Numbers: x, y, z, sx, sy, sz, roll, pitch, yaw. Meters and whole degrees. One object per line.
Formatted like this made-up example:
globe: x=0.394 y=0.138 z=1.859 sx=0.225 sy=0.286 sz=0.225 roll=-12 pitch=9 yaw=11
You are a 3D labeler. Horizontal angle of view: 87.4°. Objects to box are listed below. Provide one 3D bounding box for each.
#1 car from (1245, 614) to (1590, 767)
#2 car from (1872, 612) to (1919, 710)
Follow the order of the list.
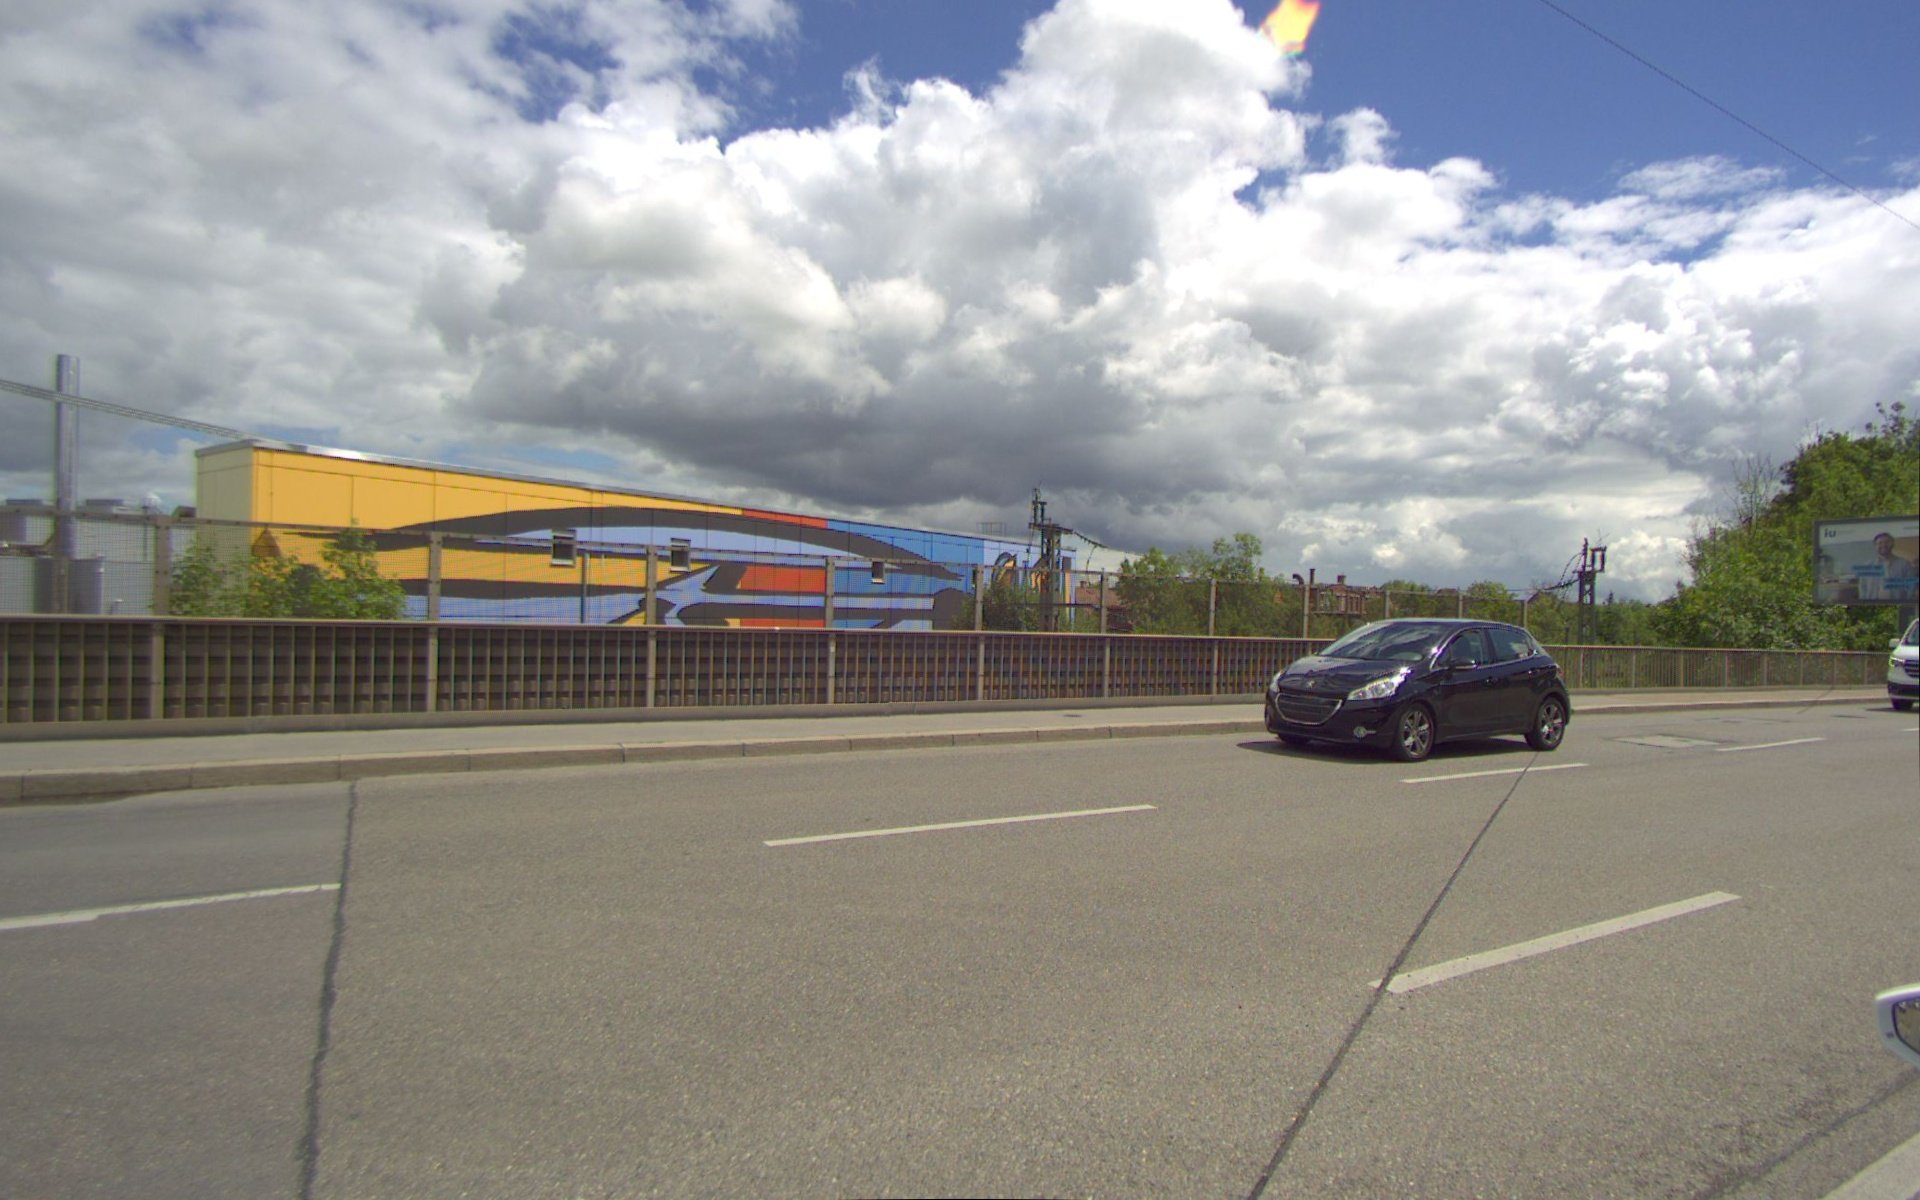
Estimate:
car: x=5.281 y=0.935 z=11.473 sx=3.954 sy=1.449 sz=1.620 roll=2 pitch=0 yaw=-31
car: x=21.048 y=1.242 z=20.701 sx=5.252 sy=1.912 sz=1.892 roll=2 pitch=-2 yaw=-31
